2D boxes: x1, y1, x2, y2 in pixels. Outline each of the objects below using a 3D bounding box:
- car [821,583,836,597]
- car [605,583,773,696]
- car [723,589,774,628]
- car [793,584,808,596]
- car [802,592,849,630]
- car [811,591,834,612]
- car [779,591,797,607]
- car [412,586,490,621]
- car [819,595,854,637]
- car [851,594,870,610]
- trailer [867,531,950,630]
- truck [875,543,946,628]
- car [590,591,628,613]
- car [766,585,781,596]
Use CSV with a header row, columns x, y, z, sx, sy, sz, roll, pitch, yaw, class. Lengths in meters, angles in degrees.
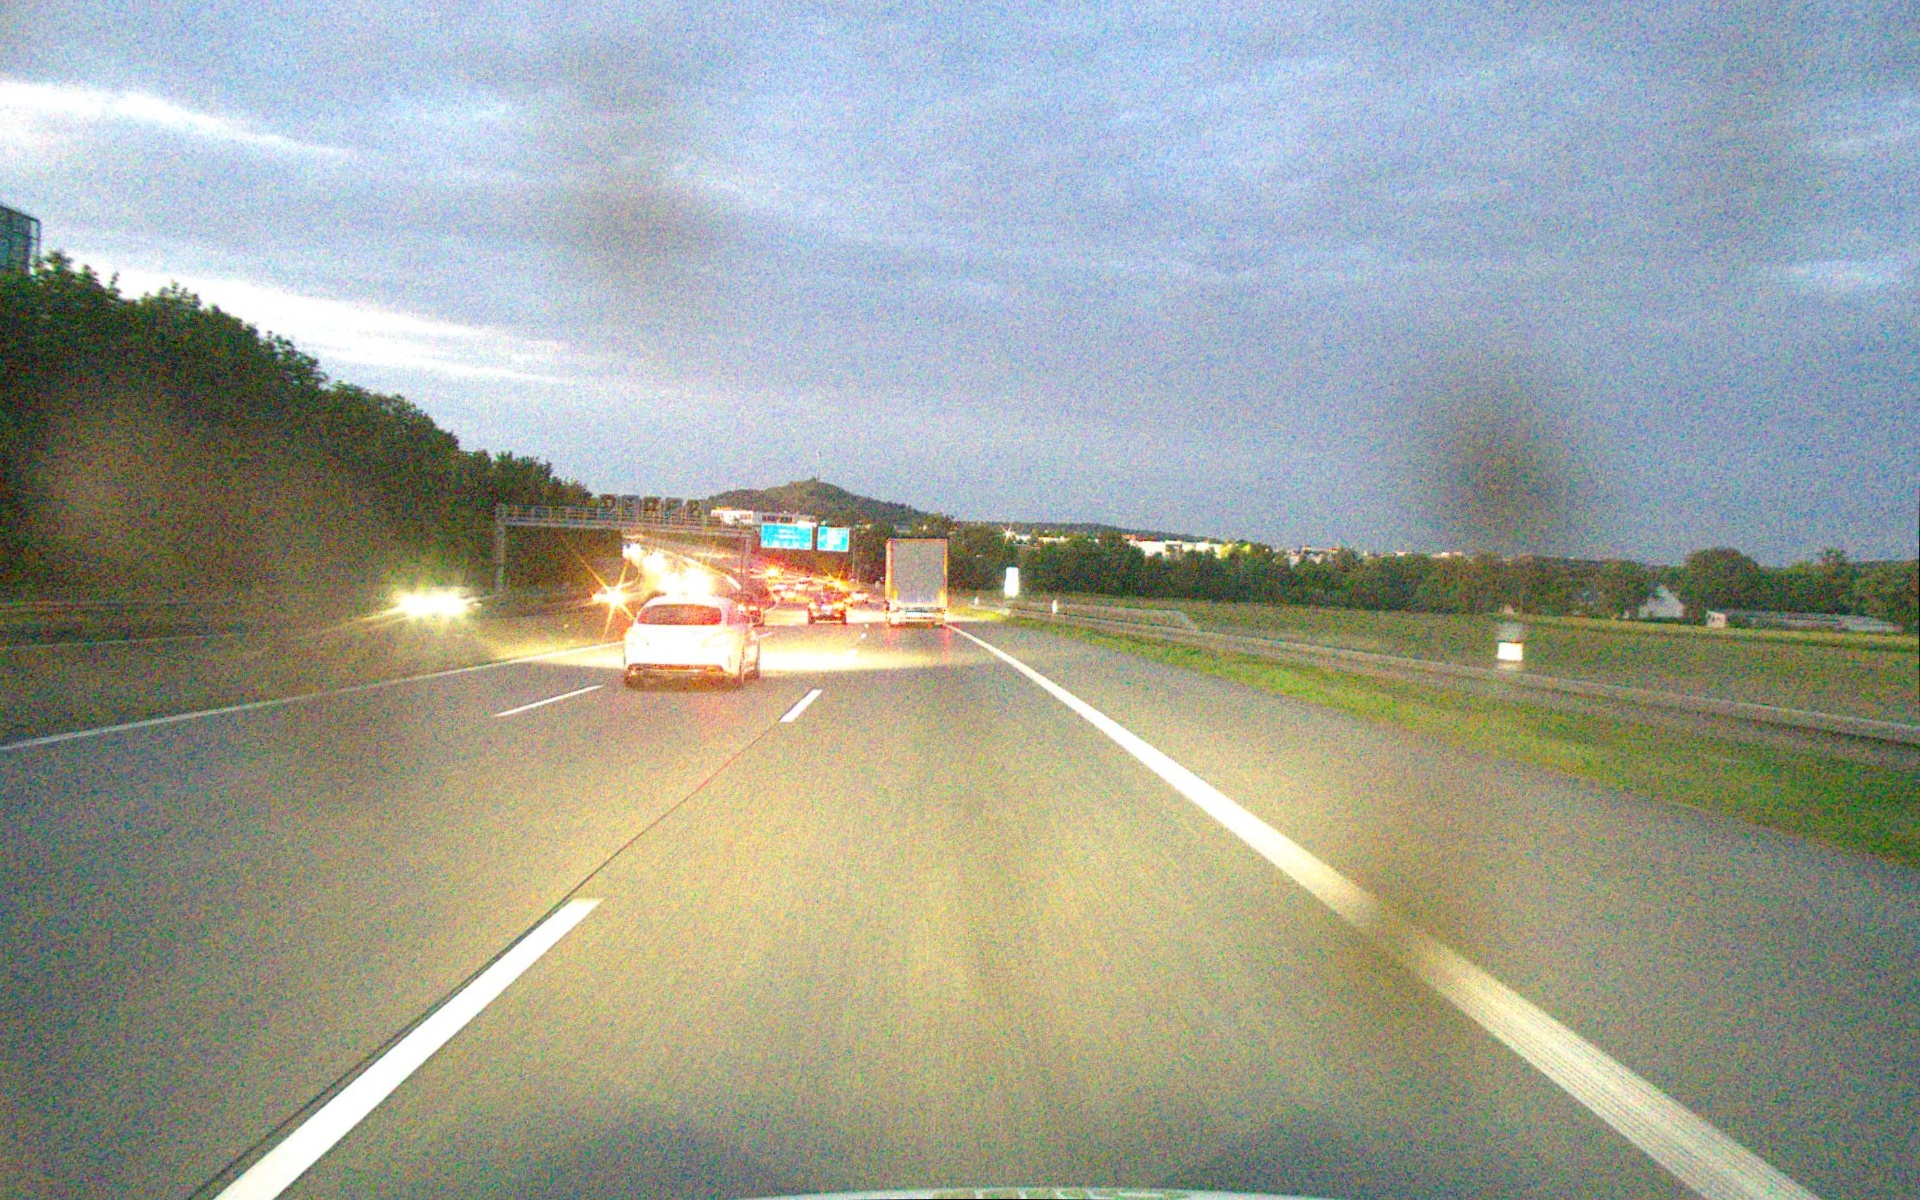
x,y,z,sx,sy,sz,roll,pitch,yaw,class
-19.601,-1.426,246.890,1.957,2.013,3.992,1,0,-9,car
-4.301,0.596,27.037,1.867,1.642,4.804,1,0,1,car
-9.214,0.383,72.211,1.726,1.602,4.575,1,0,-2,car
-23.895,-1.465,247.608,1.957,1.650,3.990,1,0,-10,car
-6.449,0.507,79.713,2.023,1.715,4.574,1,0,-2,car
-13.687,0.174,164.090,1.956,2.049,3.992,1,0,-9,car
-19.209,-0.116,184.772,1.956,1.650,3.994,1,0,-7,car
-20.874,0.149,68.005,1.798,1.359,4.907,1,0,-2,car
-7.421,0.936,99.710,1.954,2.422,3.997,1,0,-4,car
-10.615,0.221,175.488,1.954,1.561,3.997,1,0,-4,car
-2.423,-0.763,78.551,3.478,4.188,15.057,1,0,-2,trailer
-2.570,-0.703,85.975,3.479,4.163,6.149,1,-1,-2,truck
-25.524,0.141,120.349,1.953,1.532,4.504,1,0,-2,car
-26.731,-1.401,236.720,1.956,1.494,3.992,1,0,-8,car
